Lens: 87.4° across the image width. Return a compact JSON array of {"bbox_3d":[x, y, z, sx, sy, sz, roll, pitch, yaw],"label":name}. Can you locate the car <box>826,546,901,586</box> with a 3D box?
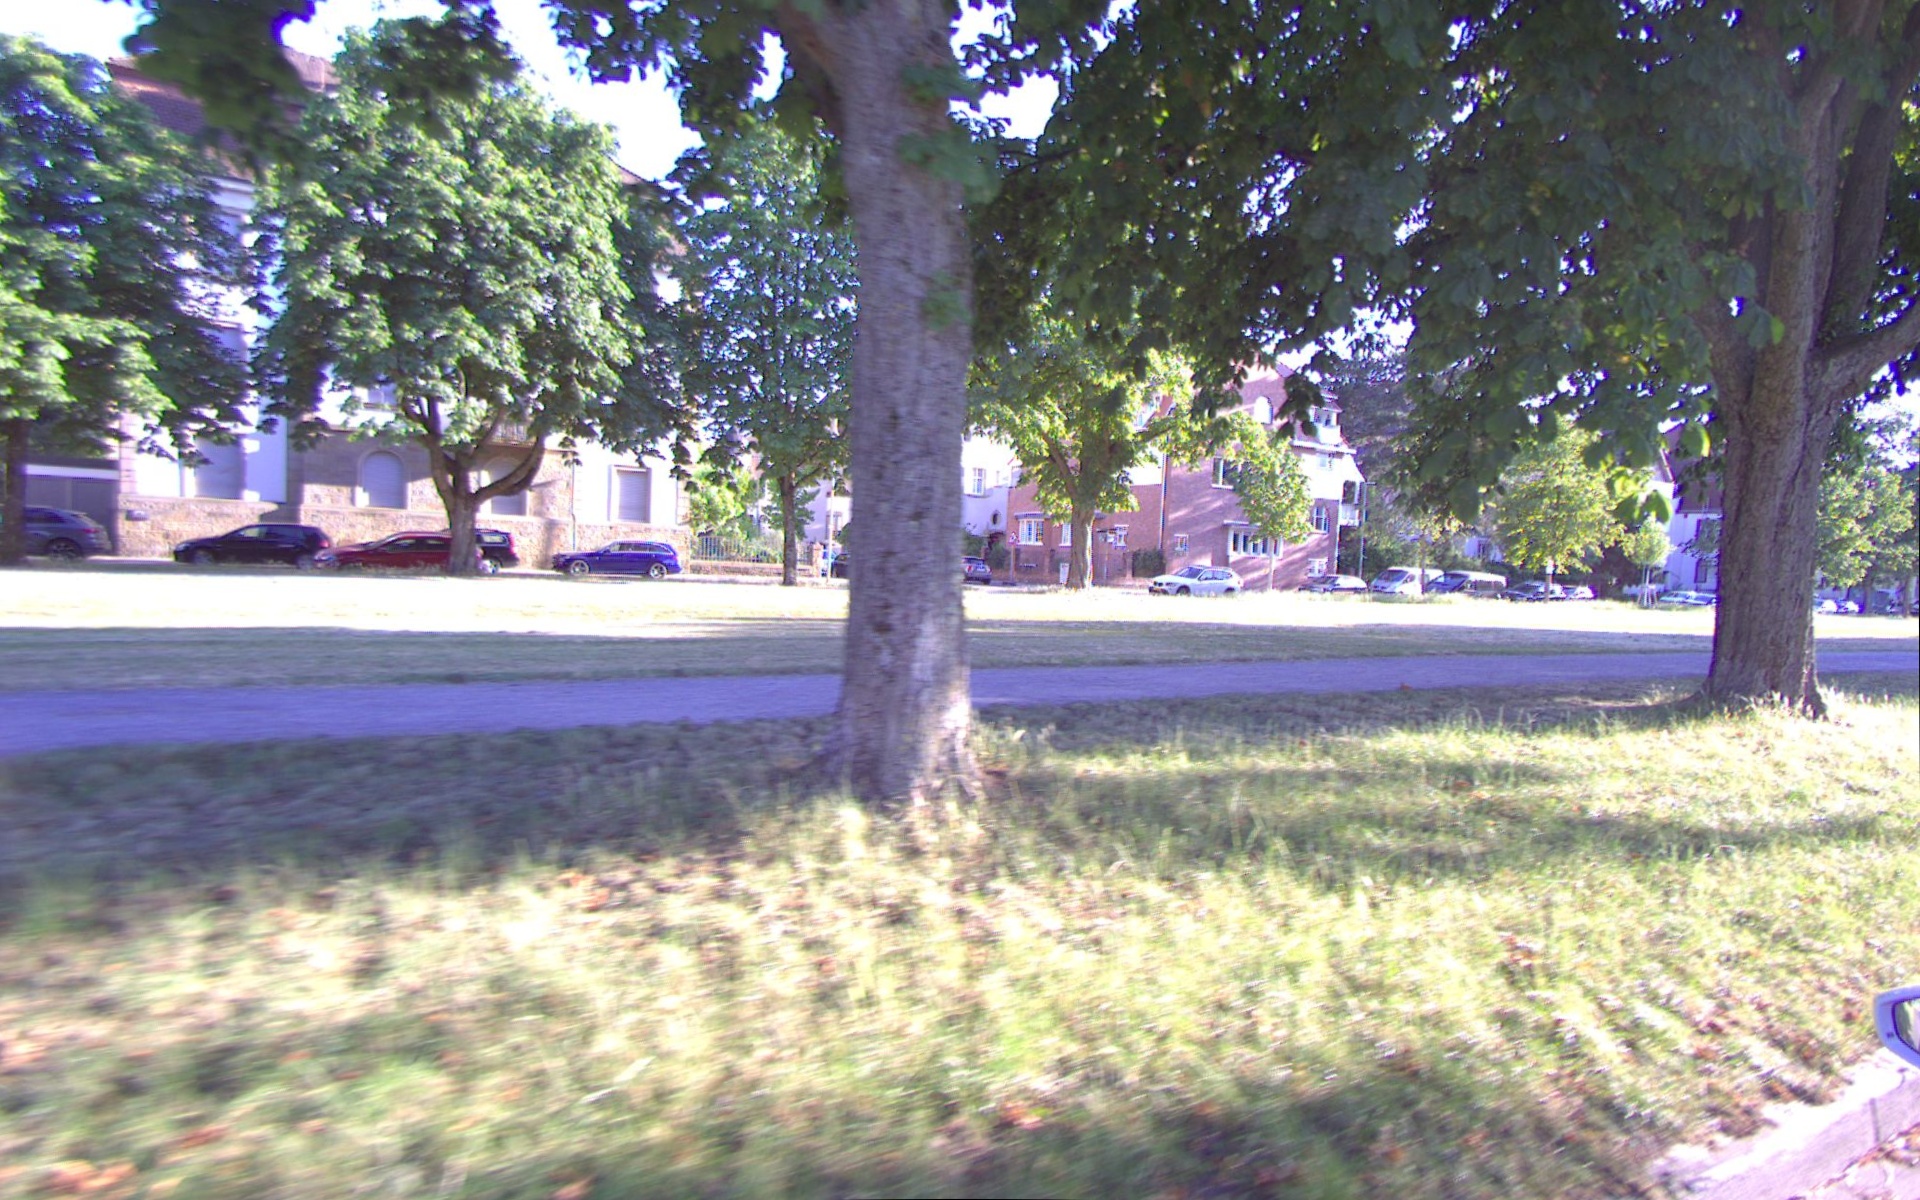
[{"bbox_3d":[-5.034,-1.788,51.613,1.977,1.628,4.833,6,1,-29],"label":"car"}]

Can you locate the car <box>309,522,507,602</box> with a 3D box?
[{"bbox_3d":[-15.812,-1.091,29.015,4.815,2.041,1.985,1,3,-29],"label":"car"}]

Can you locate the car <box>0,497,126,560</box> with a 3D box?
[{"bbox_3d":[-27.072,-2.105,28.972,4.379,1.675,1.983,1,3,-32],"label":"car"}]

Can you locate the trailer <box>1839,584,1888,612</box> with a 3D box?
[{"bbox_3d":[85.831,-0.171,95.426,4.667,2.461,1.984,2,3,-30],"label":"trailer"}]

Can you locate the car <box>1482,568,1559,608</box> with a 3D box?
[{"bbox_3d":[32.090,-0.666,57.488,3.952,2.041,1.984,1,4,-30],"label":"car"}]

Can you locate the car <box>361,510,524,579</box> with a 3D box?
[{"bbox_3d":[-17.625,-1.878,34.382,4.815,2.041,1.985,1,3,-29],"label":"car"}]

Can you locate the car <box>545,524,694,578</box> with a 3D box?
[{"bbox_3d":[-12.652,-1.819,37.417,4.950,1.773,1.983,1,3,-31],"label":"car"}]

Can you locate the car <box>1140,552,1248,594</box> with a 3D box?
[{"bbox_3d":[10.341,-1.182,44.341,4.596,1.661,1.810,1,3,-30],"label":"car"}]

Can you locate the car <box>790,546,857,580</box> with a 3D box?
[{"bbox_3d":[-7.699,-2.123,56.291,2.162,1.629,4.833,1,3,-28],"label":"car"}]

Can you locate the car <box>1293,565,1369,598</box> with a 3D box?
[{"bbox_3d":[21.391,-1.066,57.883,4.254,1.645,1.748,1,3,-30],"label":"car"}]

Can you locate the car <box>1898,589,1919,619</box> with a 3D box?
[{"bbox_3d":[99.764,0.426,103.865,5.750,2.961,2.426,2,1,-30],"label":"car"}]

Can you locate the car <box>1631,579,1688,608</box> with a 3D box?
[{"bbox_3d":[53.624,-0.482,77.034,3.952,2.040,2.022,2,1,-29],"label":"car"}]

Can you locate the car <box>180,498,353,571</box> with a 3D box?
[{"bbox_3d":[-21.969,-2.054,32.047,4.379,2.041,1.983,1,3,-32],"label":"car"}]

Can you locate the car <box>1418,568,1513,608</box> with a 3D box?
[{"bbox_3d":[27.392,-0.635,54.402,5.182,1.967,1.984,1,3,-29],"label":"car"}]

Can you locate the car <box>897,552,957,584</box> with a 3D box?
[{"bbox_3d":[-1.936,-1.861,57.726,1.814,1.595,3.877,1,3,-30],"label":"car"}]

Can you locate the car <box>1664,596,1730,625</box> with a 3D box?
[{"bbox_3d":[49.835,0.715,67.912,3.950,1.706,1.985,2,3,-28],"label":"car"}]

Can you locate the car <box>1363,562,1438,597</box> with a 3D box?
[{"bbox_3d":[26.477,-1.243,60.303,4.355,1.862,1.808,1,3,-30],"label":"car"}]

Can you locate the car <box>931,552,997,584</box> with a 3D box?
[{"bbox_3d":[0.179,-1.739,54.071,1.842,1.506,3.969,1,3,-28],"label":"car"}]

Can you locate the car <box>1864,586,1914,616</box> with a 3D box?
[{"bbox_3d":[91.184,0.120,98.596,5.125,2.709,1.984,2,3,-30],"label":"car"}]
